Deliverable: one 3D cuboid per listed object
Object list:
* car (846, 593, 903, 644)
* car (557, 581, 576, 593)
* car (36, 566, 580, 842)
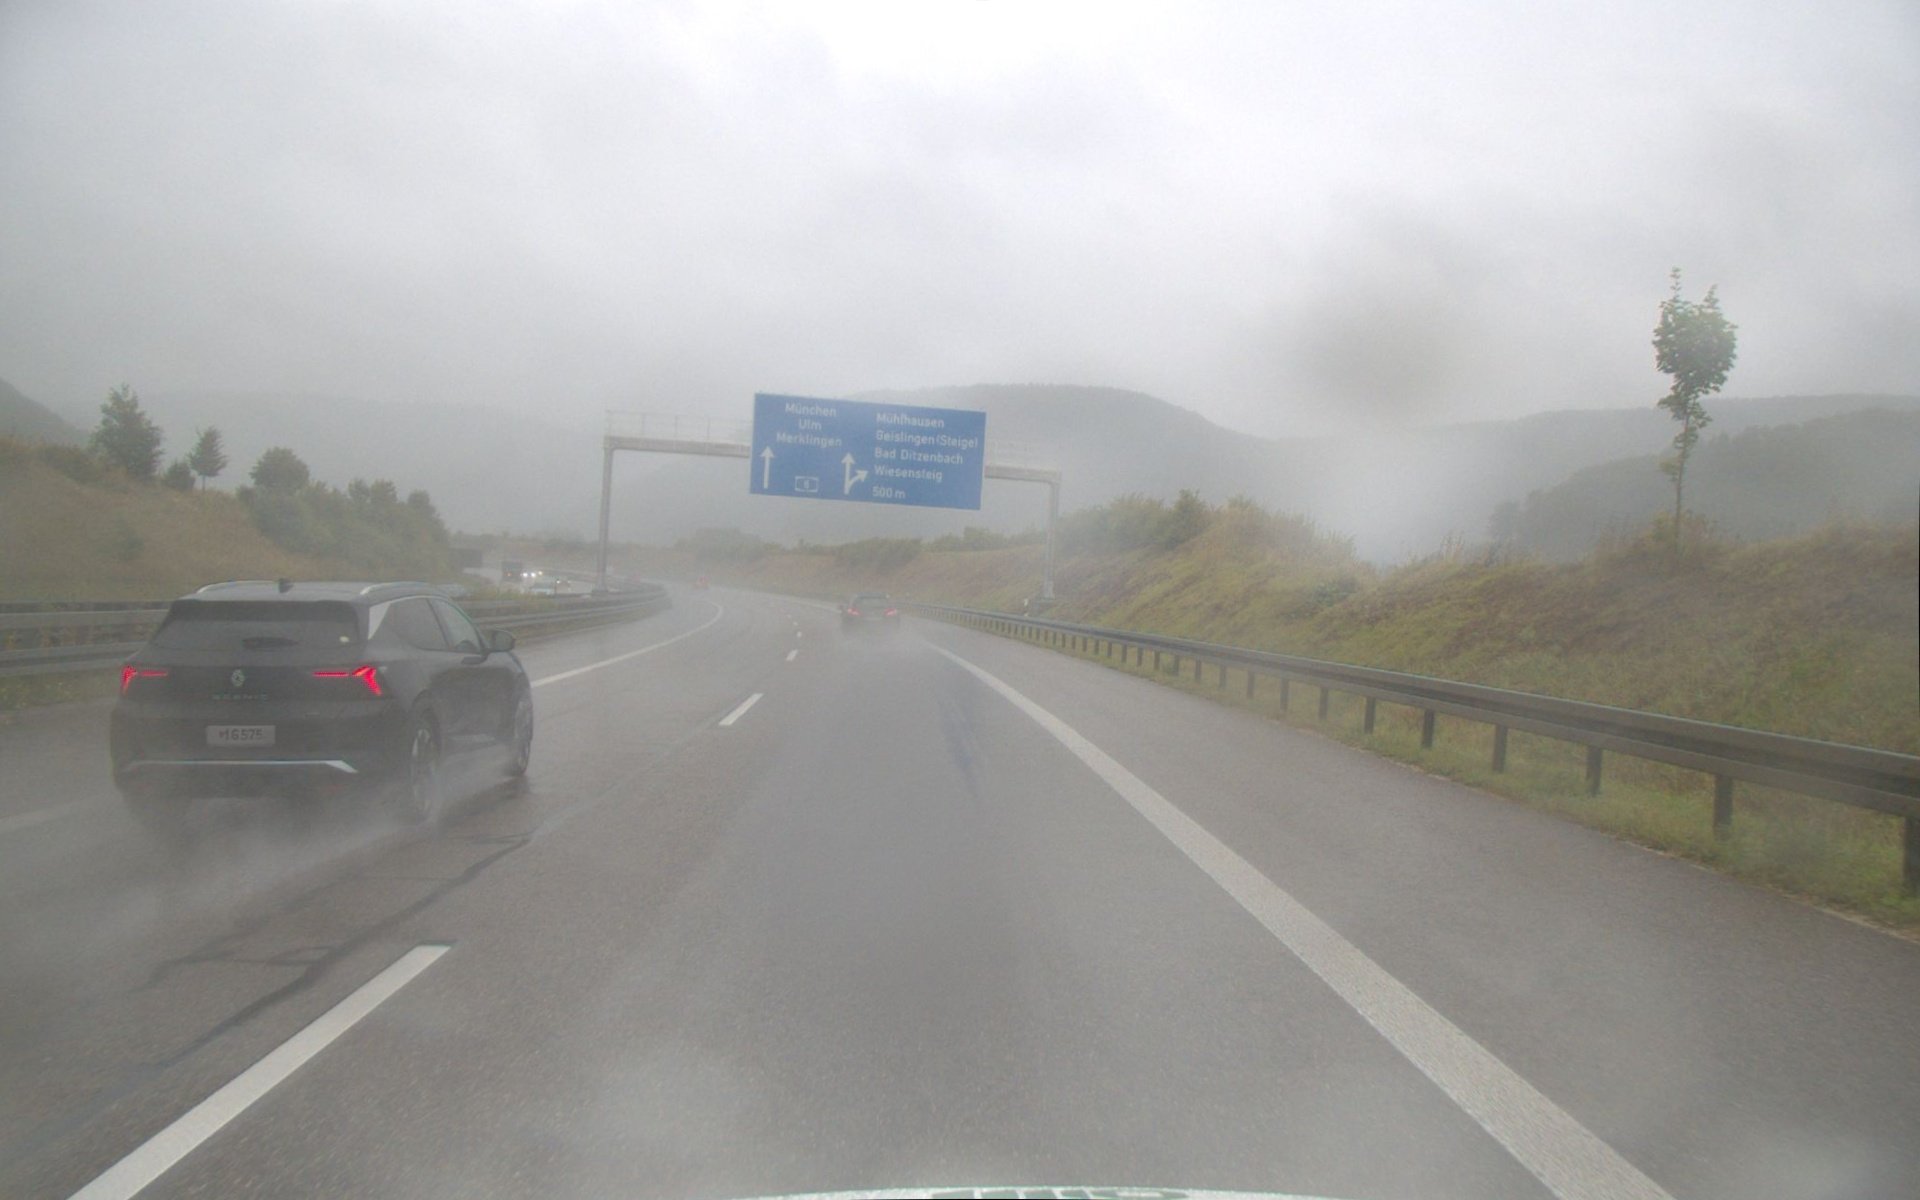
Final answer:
[{"bbox_3d":[-2.677,0.550,51.339,1.646,1.498,3.811,2,0,-4],"label":"car"},{"bbox_3d":[-52.749,-1.723,221.820,1.955,1.545,3.995,3,0,-6],"label":"car"},{"bbox_3d":[-4.316,0.610,11.990,2.359,1.542,4.779,2,0,-5],"label":"car"}]
